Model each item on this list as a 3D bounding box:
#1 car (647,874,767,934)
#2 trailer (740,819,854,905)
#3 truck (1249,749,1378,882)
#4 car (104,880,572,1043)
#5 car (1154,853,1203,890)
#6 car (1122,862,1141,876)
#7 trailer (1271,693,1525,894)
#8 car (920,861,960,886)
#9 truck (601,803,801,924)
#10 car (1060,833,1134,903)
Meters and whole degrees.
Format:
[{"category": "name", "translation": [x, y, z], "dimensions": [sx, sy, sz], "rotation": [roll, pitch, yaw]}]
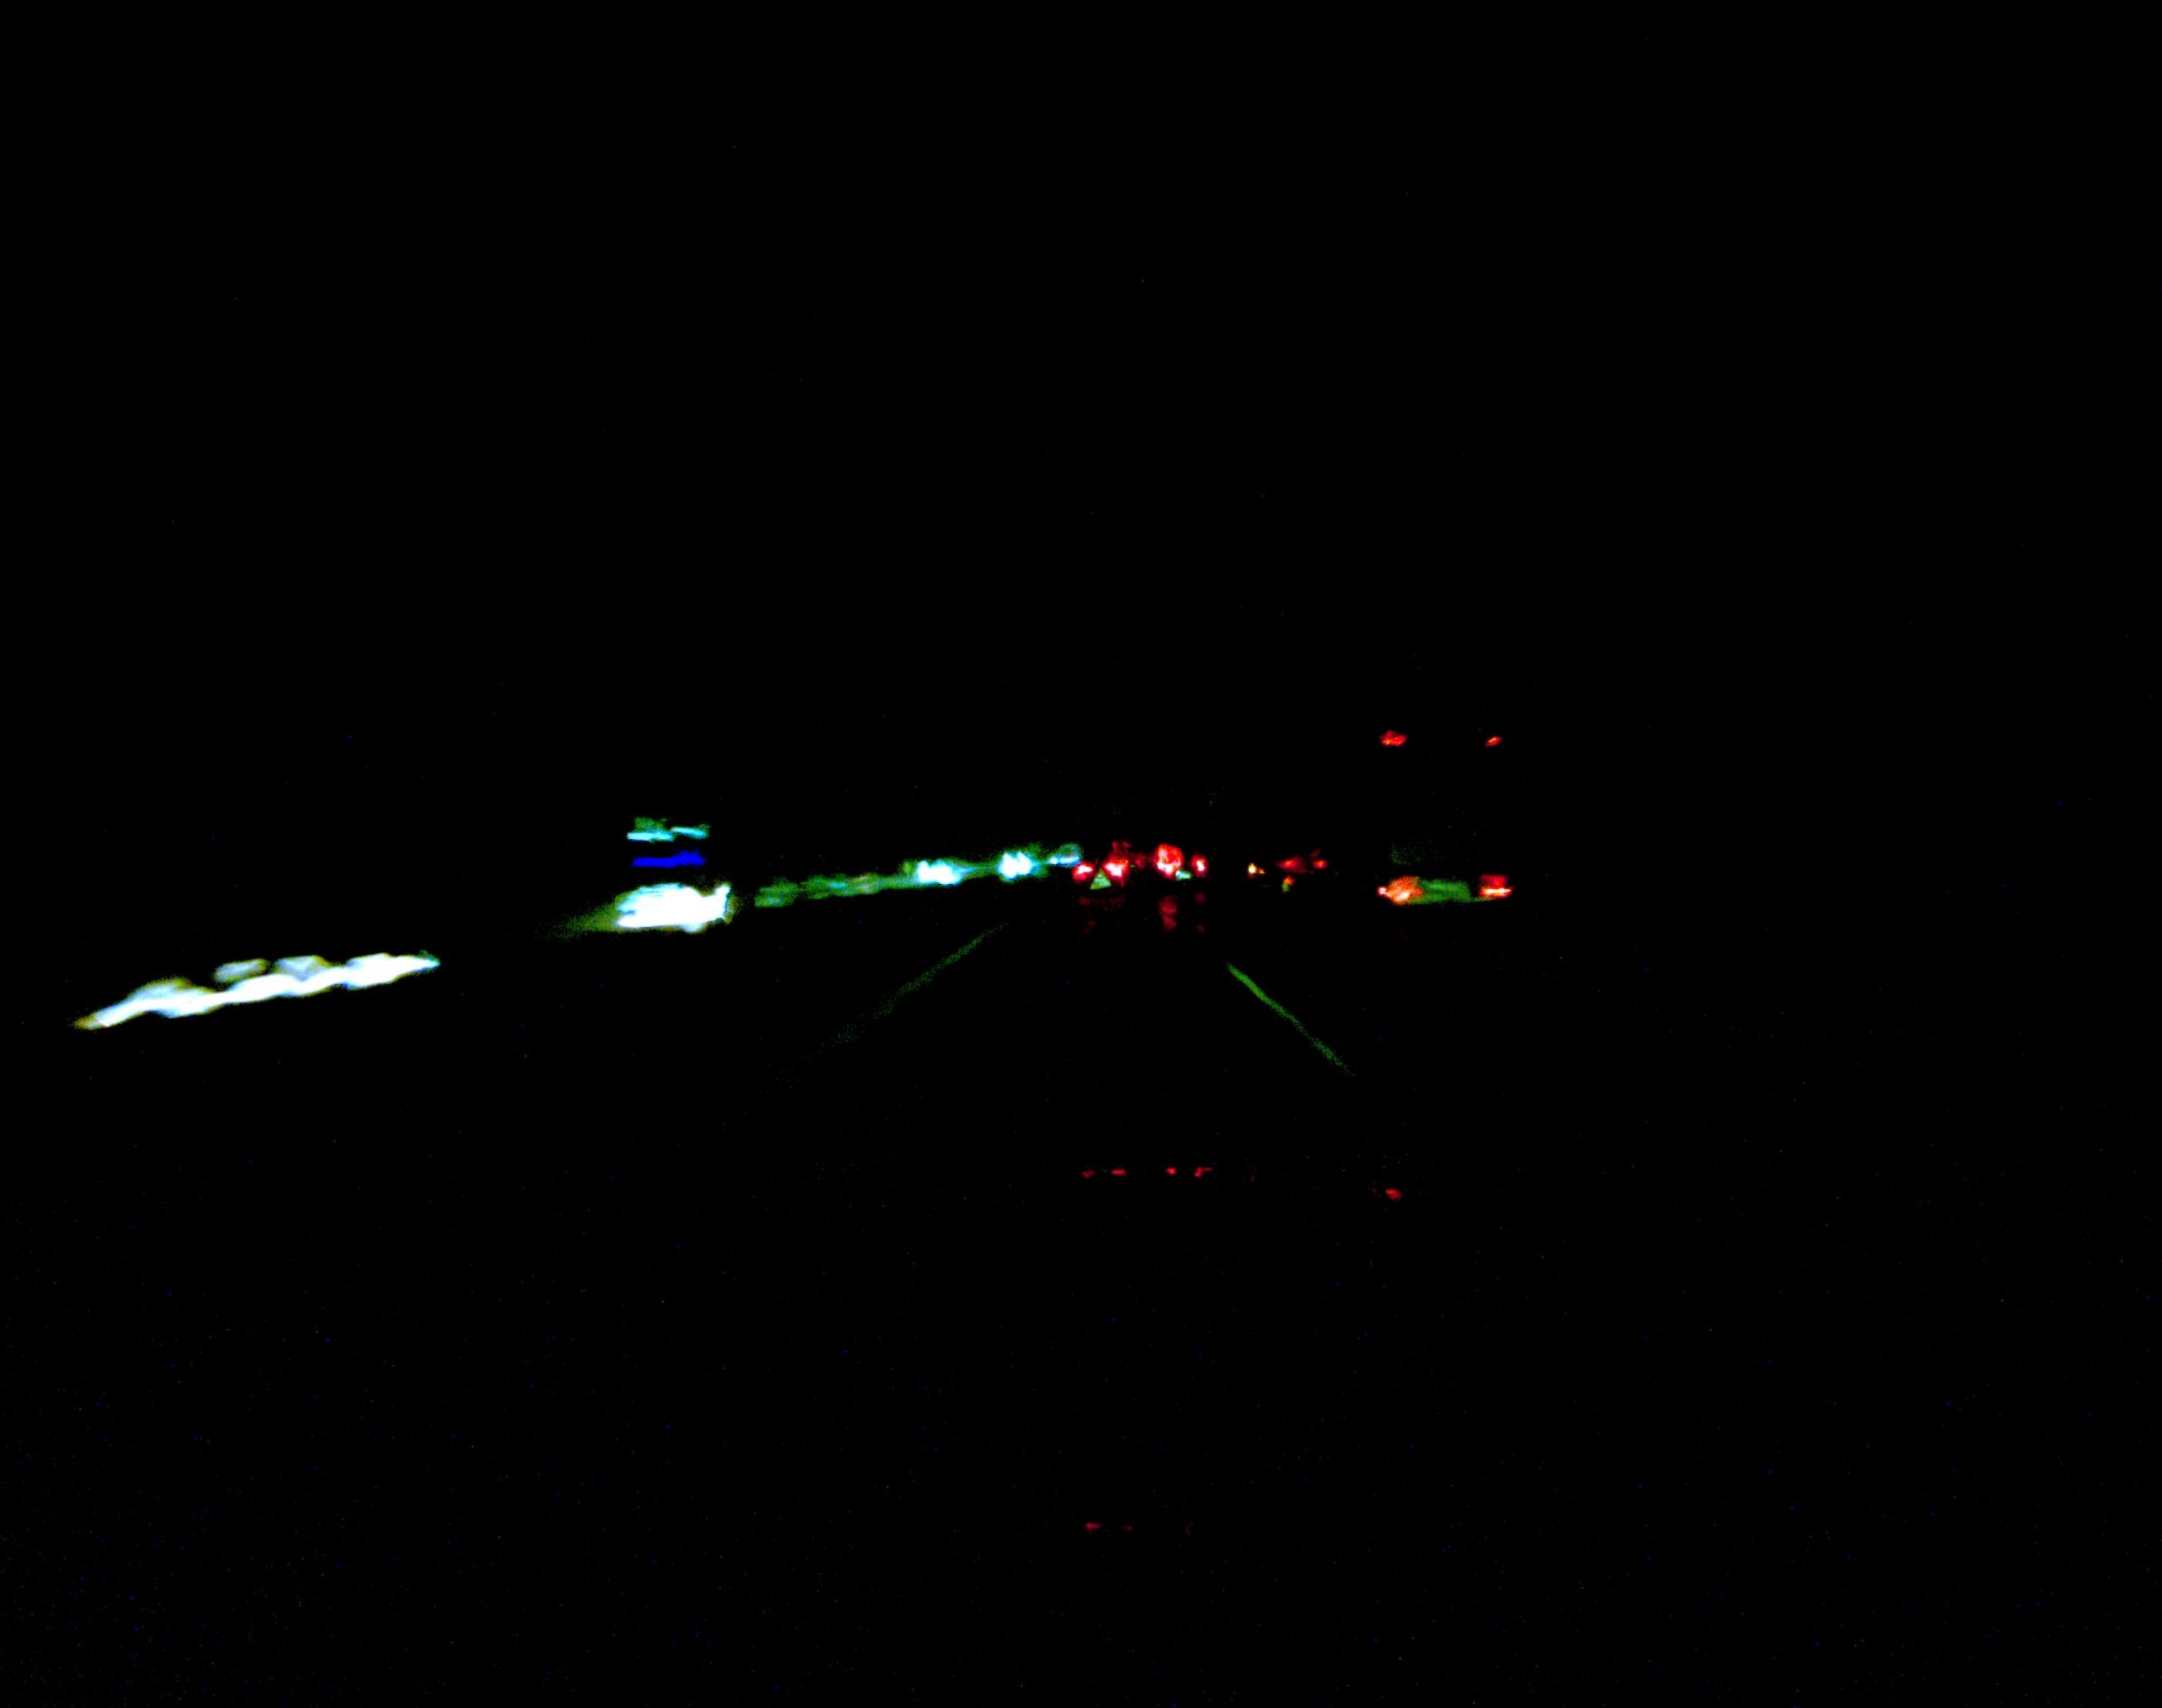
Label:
[{"category": "car", "translation": [-11.523, 1.483, 25.443], "dimensions": [1.748, 1.525, 4.116], "rotation": [-3, 0, 0]}, {"category": "trailer", "translation": [-15.790, 0.445, 46.185], "dimensions": [2.929, 4.277, 8.939], "rotation": [-3, -1, 2]}, {"category": "truck", "translation": [8.301, -1.235, 30.135], "dimensions": [2.793, 4.267, 7.450], "rotation": [-1, 0, 1]}, {"category": "car", "translation": [-8.464, 1.102, 9.917], "dimensions": [1.747, 1.362, 4.119], "rotation": [-3, 0, 2]}, {"category": "car", "translation": [4.391, 0.760, 37.226], "dimensions": [1.877, 1.588, 4.001], "rotation": [-1, 0, 1]}, {"category": "car", "translation": [6.016, 1.755, 97.018], "dimensions": [2.128, 1.618, 4.002], "rotation": [0, -1, 2]}, {"category": "trailer", "translation": [8.119, -1.269, 23.294], "dimensions": [2.793, 4.212, 12.100], "rotation": [-1, 0, 1]}, {"category": "car", "translation": [-10.743, 1.442, 62.410], "dimensions": [2.055, 1.824, 4.882], "rotation": [0, -1, 2]}, {"category": "truck", "translation": [-16.089, 0.398, 35.955], "dimensions": [2.920, 4.327, 11.440], "rotation": [-3, -1, 2]}, {"category": "car", "translation": [0.621, 0.518, 34.057], "dimensions": [2.701, 2.534, 5.830], "rotation": [-3, 0, 0]}]
